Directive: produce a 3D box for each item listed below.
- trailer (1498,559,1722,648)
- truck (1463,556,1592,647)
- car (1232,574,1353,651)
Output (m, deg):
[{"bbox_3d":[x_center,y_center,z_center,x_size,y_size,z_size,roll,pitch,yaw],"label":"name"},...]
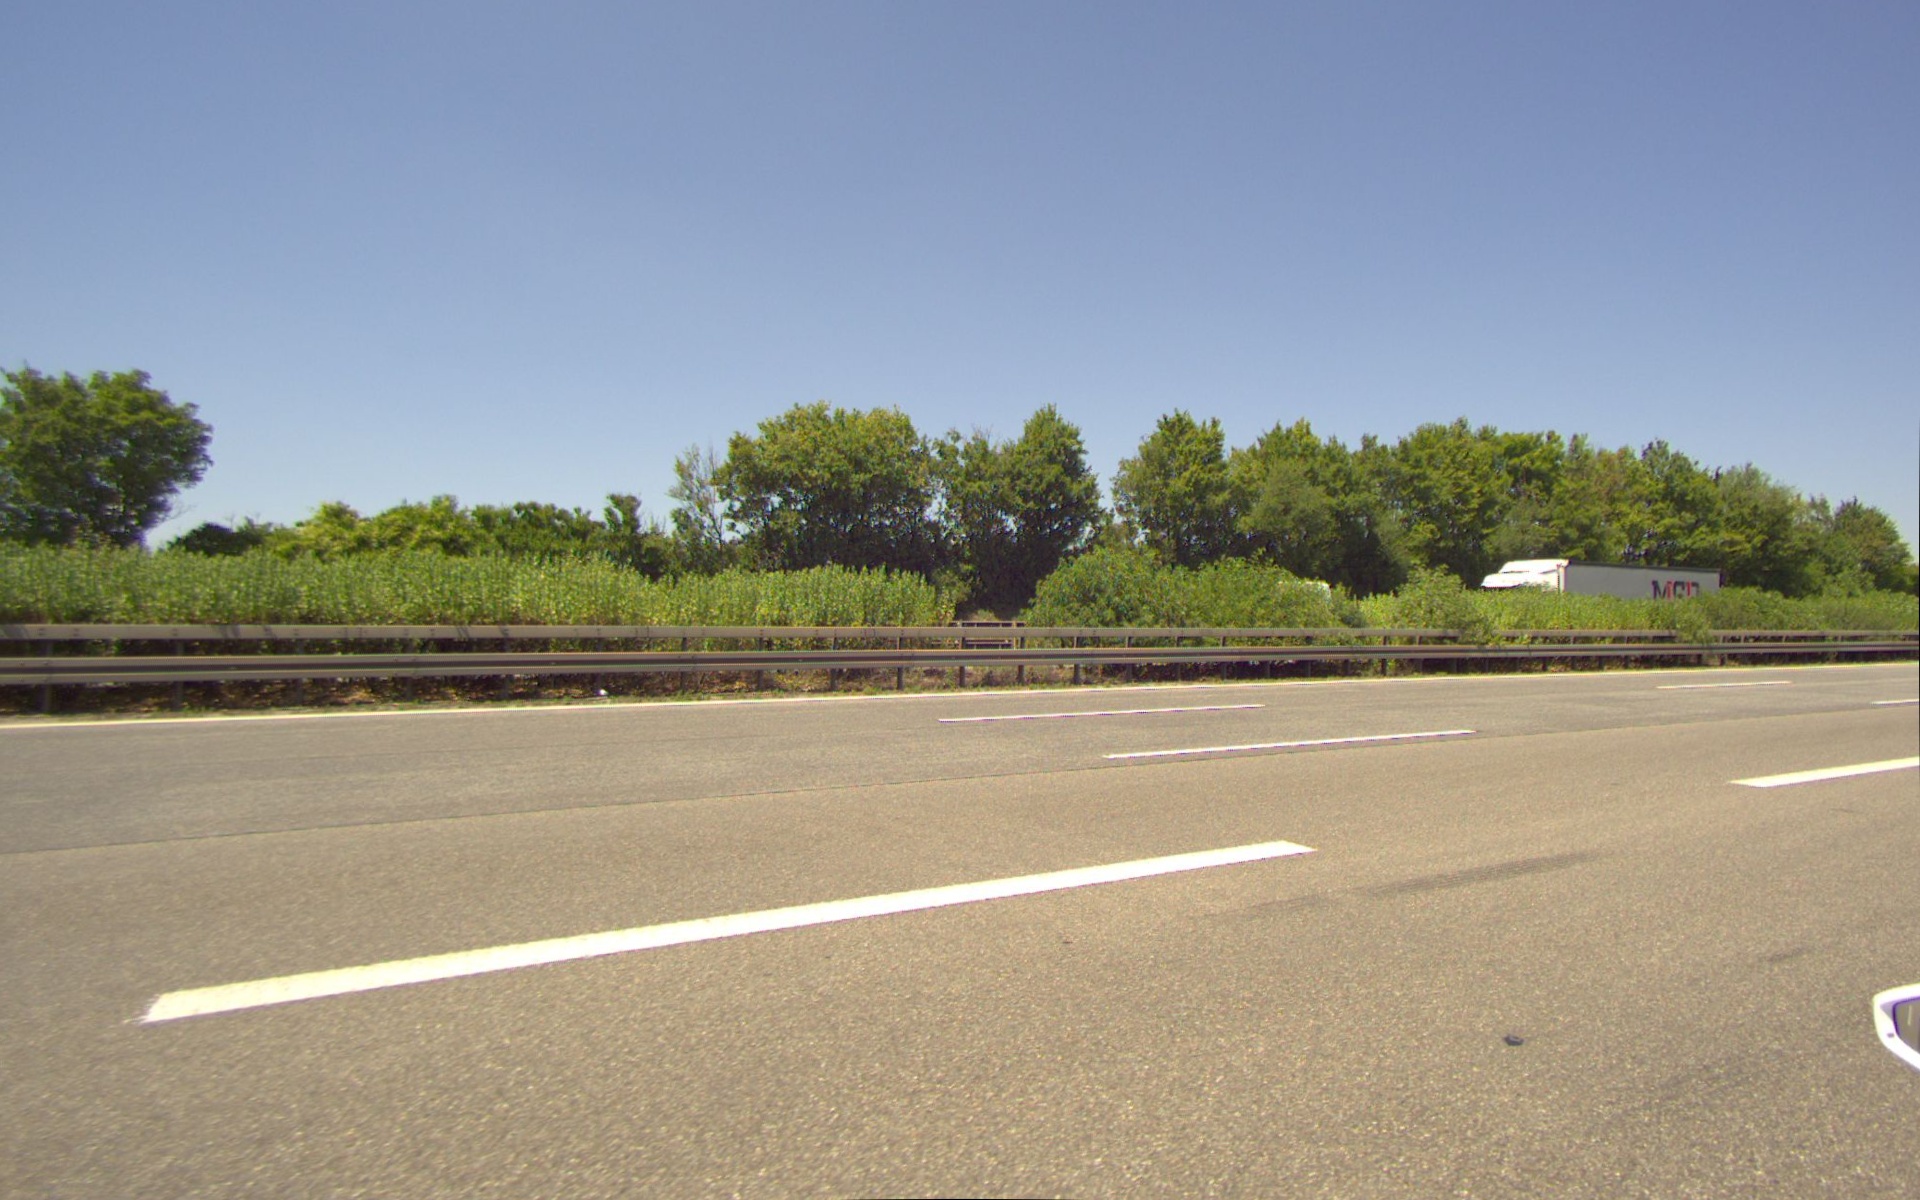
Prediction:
[{"bbox_3d":[33.579,0.282,51.592,13.750,4.144,3.379,1,0,-28],"label":"trailer"},{"bbox_3d":[27.181,0.099,48.172,4.767,4.144,3.320,1,0,-28],"label":"truck"},{"bbox_3d":[12.199,0.492,36.806,4.266,2.682,1.832,1,0,-30],"label":"car"}]
